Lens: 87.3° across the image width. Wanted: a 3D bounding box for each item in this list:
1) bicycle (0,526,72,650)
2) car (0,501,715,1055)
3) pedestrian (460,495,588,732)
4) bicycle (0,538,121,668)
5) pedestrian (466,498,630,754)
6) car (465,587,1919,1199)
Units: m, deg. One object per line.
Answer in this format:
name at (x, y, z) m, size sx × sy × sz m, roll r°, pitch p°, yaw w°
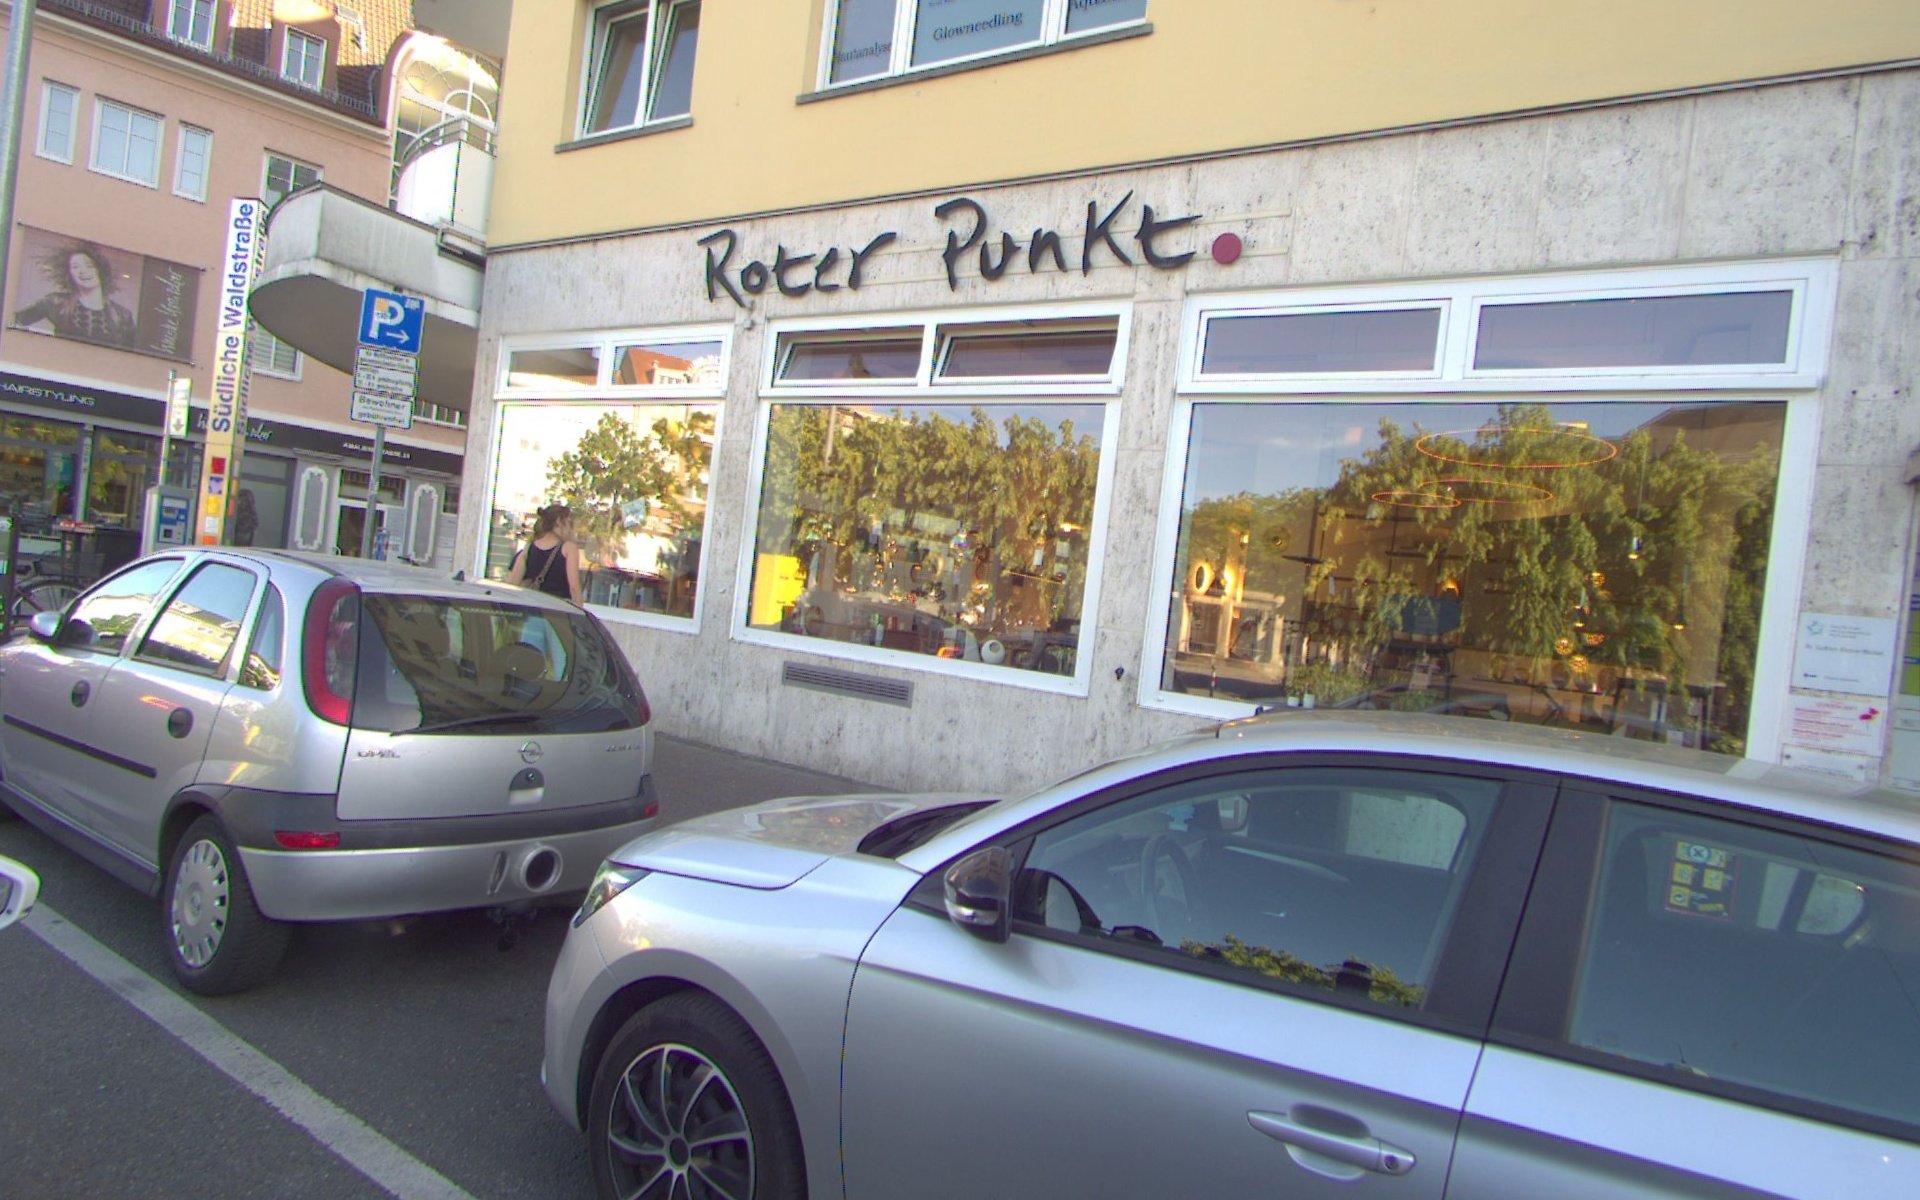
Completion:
bicycle at (-9.091, -0.147, 8.815) m, size 0.408 × 1.101 × 1.872 m, roll 6°, pitch 1°, yaw 35°
car at (-2.938, 0.474, 4.436) m, size 3.419 × 1.407 × 1.548 m, roll 8°, pitch 0°, yaw 33°
pedestrian at (-3.566, 0.118, 8.226) m, size 0.734 × 1.805 × 0.564 m, roll 7°, pitch 0°, yaw -26°
bicycle at (-8.108, 0.001, 8.197) m, size 0.348 × 1.051 × 1.871 m, roll 6°, pitch 1°, yaw 38°
pedestrian at (-2.932, 0.183, 7.204) m, size 0.646 × 1.685 × 0.648 m, roll 7°, pitch 0°, yaw 16°
car at (0.770, 0.924, 2.275) m, size 3.598 × 1.444 × 1.550 m, roll 6°, pitch -1°, yaw 30°
